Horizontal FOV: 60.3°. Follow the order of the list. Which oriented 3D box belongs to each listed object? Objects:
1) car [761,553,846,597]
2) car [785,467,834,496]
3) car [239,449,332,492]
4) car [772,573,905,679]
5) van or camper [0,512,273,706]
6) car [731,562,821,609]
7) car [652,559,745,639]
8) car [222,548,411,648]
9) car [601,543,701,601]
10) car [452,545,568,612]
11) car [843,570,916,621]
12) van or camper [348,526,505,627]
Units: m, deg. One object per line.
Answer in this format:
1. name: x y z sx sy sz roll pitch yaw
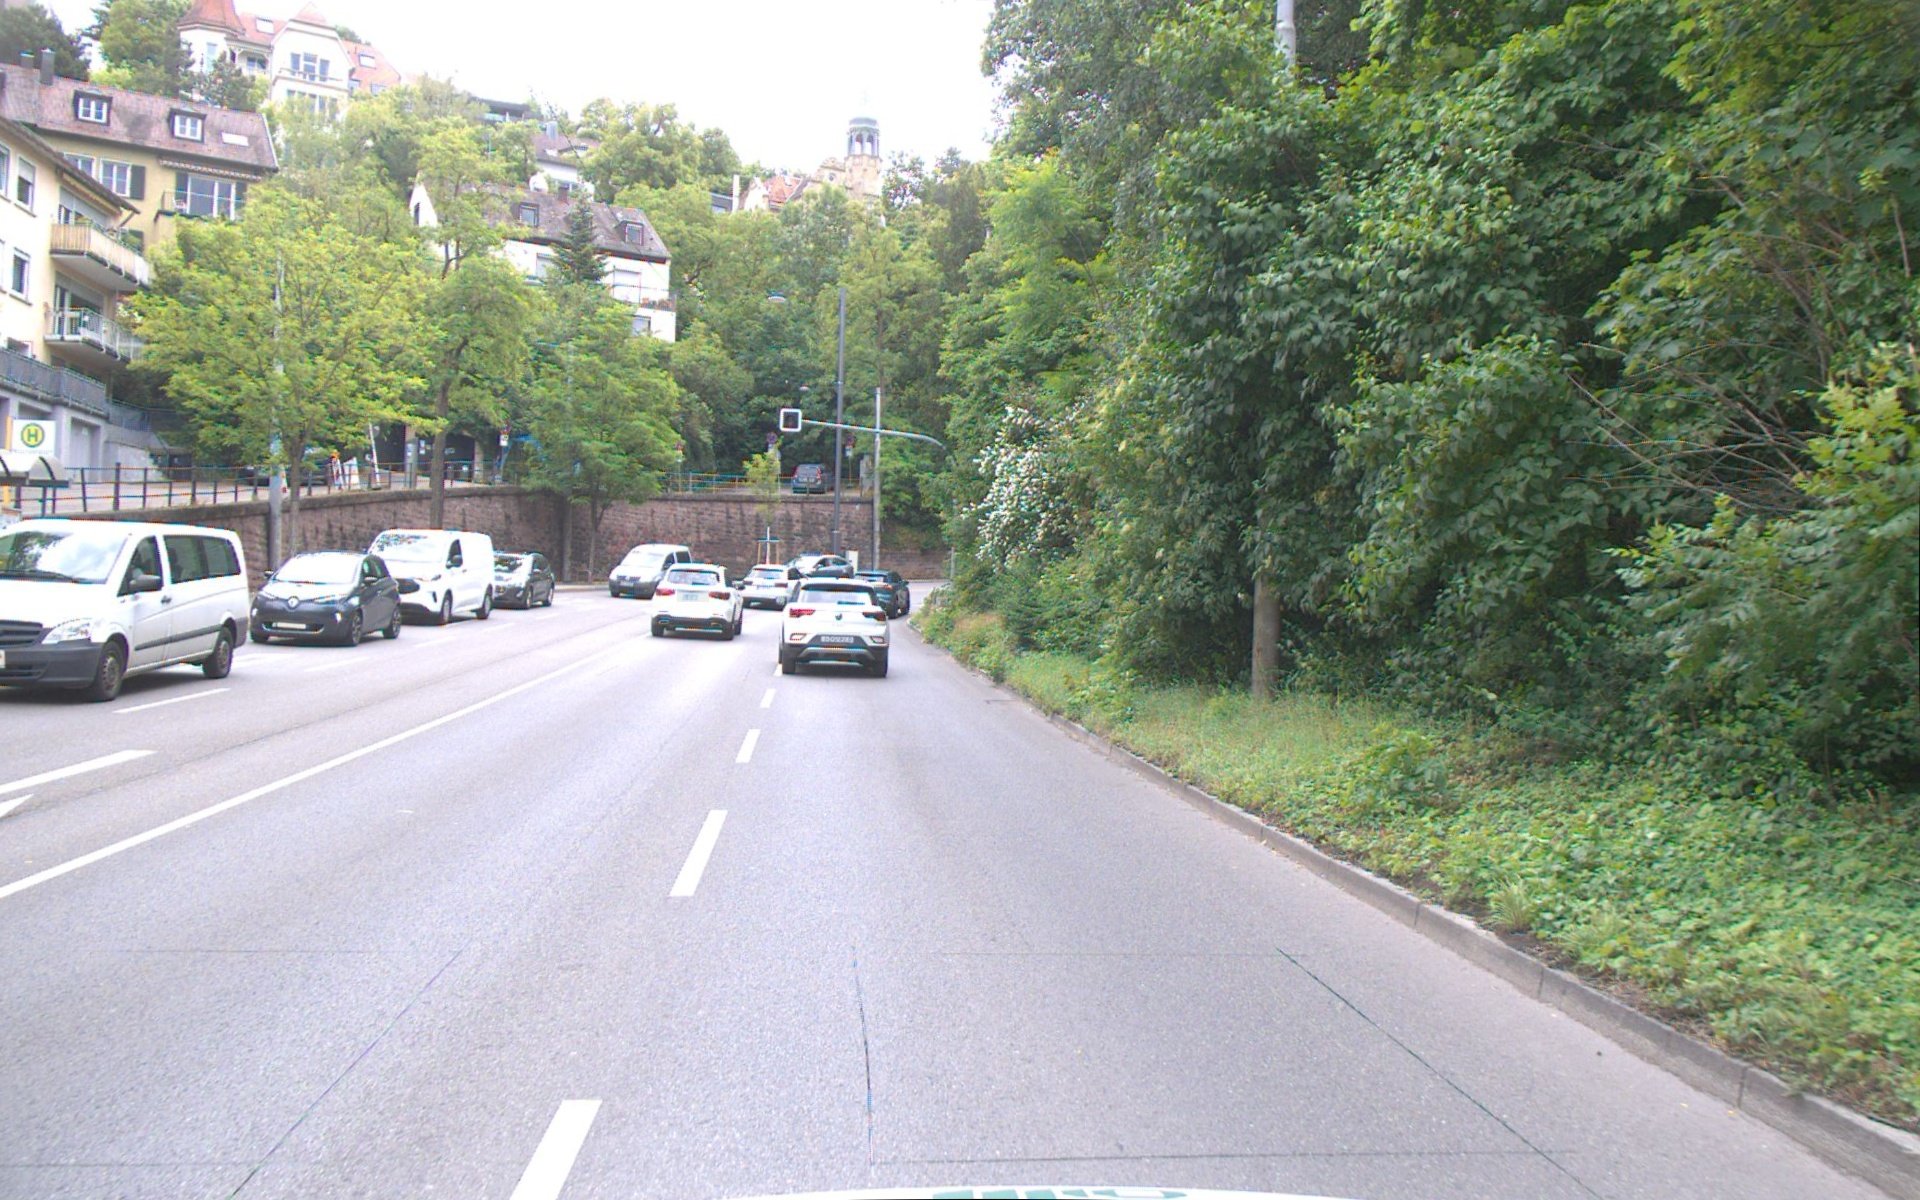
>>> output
1. car: -6.615 -1.067 70.374 1.905 1.723 4.287 4 2 19
2. car: -8.180 -6.499 90.379 1.951 1.511 4.005 1 5 5
3. car: -23.956 -4.579 58.822 1.518 1.302 3.602 0 1 6
4. car: -2.141 0.384 28.145 1.831 1.583 3.885 2 1 -10
5. van or camper: -9.945 0.042 19.359 1.955 1.928 5.451 2 1 -6
6. car: -6.325 -0.519 57.436 2.200 1.545 4.311 1 1 6
7. car: -6.006 -0.025 38.402 1.841 1.680 4.336 2 0 -6
8. car: -11.098 -0.062 28.837 1.955 1.547 3.987 2 1 -5
9. car: -10.844 -0.985 58.334 1.904 1.829 4.289 4 1 11
10. car: -12.482 -0.646 46.158 1.953 1.645 4.330 4 2 0
11. car: -2.726 -0.162 56.793 1.821 1.660 3.962 -2 0 7
12. van or camper: -11.877 -0.534 37.238 1.954 2.048 5.559 2 1 -3
